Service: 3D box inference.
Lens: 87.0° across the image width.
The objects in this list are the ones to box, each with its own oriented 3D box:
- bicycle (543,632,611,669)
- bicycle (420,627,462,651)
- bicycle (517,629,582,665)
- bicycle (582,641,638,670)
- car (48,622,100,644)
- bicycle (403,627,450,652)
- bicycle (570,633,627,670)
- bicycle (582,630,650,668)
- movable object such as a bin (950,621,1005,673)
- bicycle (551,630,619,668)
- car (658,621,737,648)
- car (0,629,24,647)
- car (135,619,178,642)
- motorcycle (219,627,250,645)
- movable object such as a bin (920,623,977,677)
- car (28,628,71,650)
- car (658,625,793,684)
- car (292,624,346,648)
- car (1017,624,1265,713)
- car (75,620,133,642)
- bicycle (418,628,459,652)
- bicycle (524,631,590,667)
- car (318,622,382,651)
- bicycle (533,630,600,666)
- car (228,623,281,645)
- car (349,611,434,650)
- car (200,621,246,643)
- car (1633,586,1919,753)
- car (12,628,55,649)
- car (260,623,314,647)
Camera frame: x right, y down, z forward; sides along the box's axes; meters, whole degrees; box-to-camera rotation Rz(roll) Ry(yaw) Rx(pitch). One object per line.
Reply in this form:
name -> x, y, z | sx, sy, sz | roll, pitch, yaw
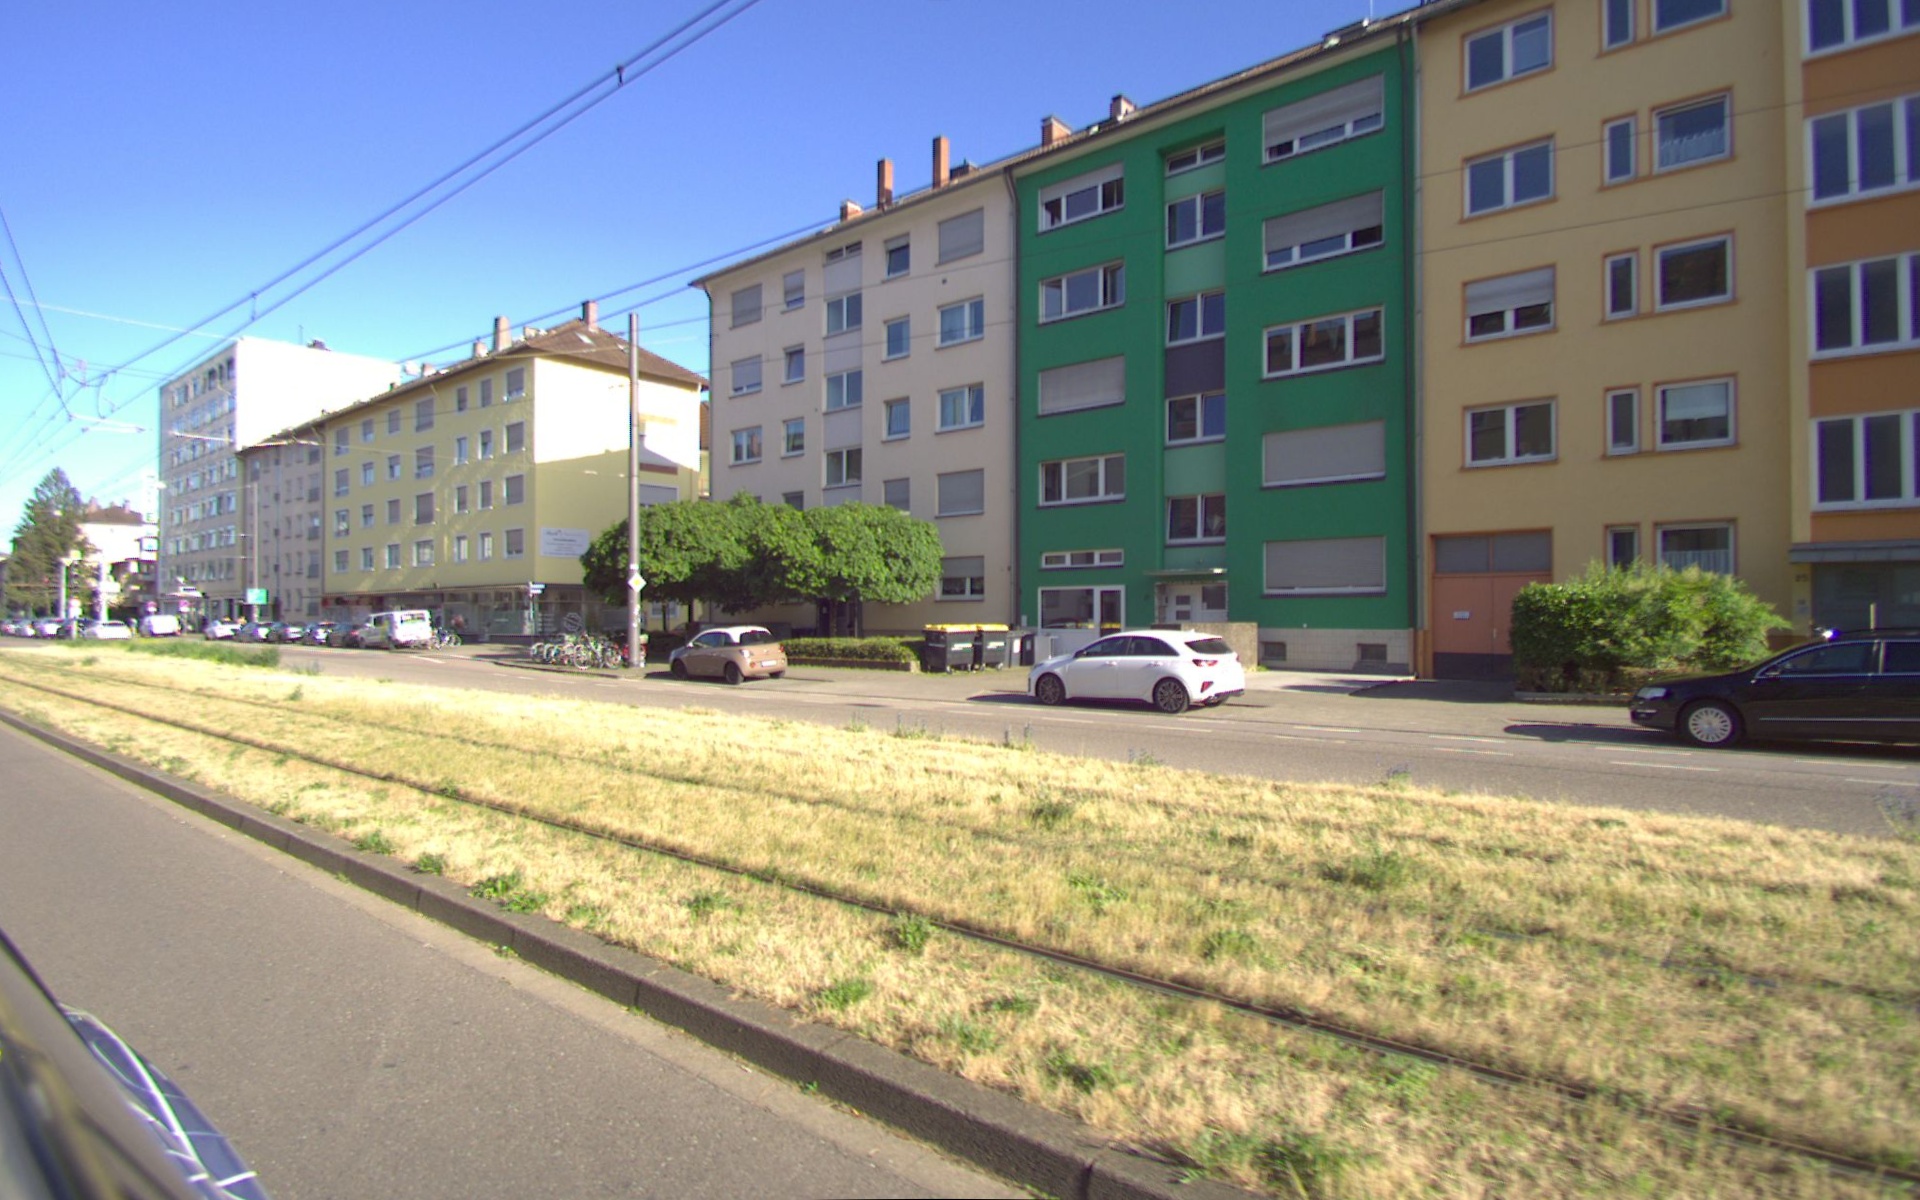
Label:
bicycle -> -12.869, 1.676, 34.033 | 2.024, 1.101, 0.616 | -3, 1, -44
bicycle -> -25.934, 1.936, 50.608 | 0.390, 1.114, 1.801 | -1, 1, 40
bicycle -> -14.402, 1.628, 35.543 | 2.024, 1.101, 0.616 | -3, 1, -44
bicycle -> -10.961, 1.728, 31.700 | 2.046, 0.872, 0.374 | -1, 1, 29
car -> -62.147, 2.327, 70.973 | 4.405, 1.540, 1.767 | -1, -3, 35
bicycle -> -27.351, 2.017, 51.893 | 0.472, 1.114, 2.076 | -1, 1, 40
bicycle -> -11.174, 1.586, 31.270 | 1.927, 1.101, 0.506 | -1, 1, 29
bicycle -> -11.195, 1.587, 32.909 | 2.019, 1.101, 0.617 | -2, 1, -23
movable object such as a bin -> 0.500, 1.311, 28.732 | 1.039, 1.378, 1.134 | -1, 1, 43
bicycle -> -12.425, 1.619, 33.572 | 2.024, 1.101, 0.616 | -3, 1, -44
car -> -14.291, 1.921, 55.224 | 1.770, 1.424, 3.949 | -1, -3, 38
car -> -83.340, 3.313, 88.534 | 3.997, 1.571, 1.597 | -1, -4, 40
car -> -70.881, 2.657, 89.269 | 4.664, 1.912, 1.974 | -1, 1, 38
motorcycle -> -51.384, 2.528, 71.695 | 0.481, 1.147, 2.108 | -2, 1, 7
movable object such as a bin -> -0.308, 1.352, 27.849 | 1.039, 1.378, 1.134 | -1, 1, 43
car -> -67.858, 2.912, 75.406 | 4.604, 1.593, 1.765 | -2, -3, 40
car -> -6.458, 1.436, 27.699 | 3.729, 1.453, 1.620 | -1, 1, 38
car -> -39.364, 2.188, 62.115 | 3.765, 1.395, 1.765 | -1, 1, 40
car -> 3.343, 1.211, 19.190 | 4.373, 1.465, 1.711 | -1, 0, 41
car -> -56.738, 2.067, 67.086 | 4.404, 1.395, 1.818 | -1, -3, 35
bicycle -> -26.217, 2.008, 50.935 | 0.390, 1.114, 1.801 | -1, 1, 40
bicycle -> -13.948, 1.691, 35.065 | 2.024, 1.101, 0.616 | -3, 1, -44
car -> -35.099, 2.075, 58.215 | 4.592, 1.485, 1.765 | -1, 1, 40
bicycle -> -13.441, 1.621, 34.617 | 2.024, 1.101, 0.616 | -3, 1, -44
car -> -48.017, 2.299, 68.851 | 4.409, 1.395, 1.766 | -1, 1, 38
car -> -30.719, 1.635, 54.611 | 5.492, 1.964, 1.975 | -1, 1, 38
car -> -54.210, 2.347, 74.383 | 4.196, 1.497, 1.741 | -1, 1, 40
car -> 11.208, 0.785, 12.505 | 4.606, 1.851, 1.973 | -1, 1, 41
car -> -73.312, 3.047, 80.073 | 4.235, 1.562, 1.839 | -1, -4, 38
car -> -43.564, 2.258, 65.467 | 4.412, 1.431, 1.765 | -1, 1, 40
